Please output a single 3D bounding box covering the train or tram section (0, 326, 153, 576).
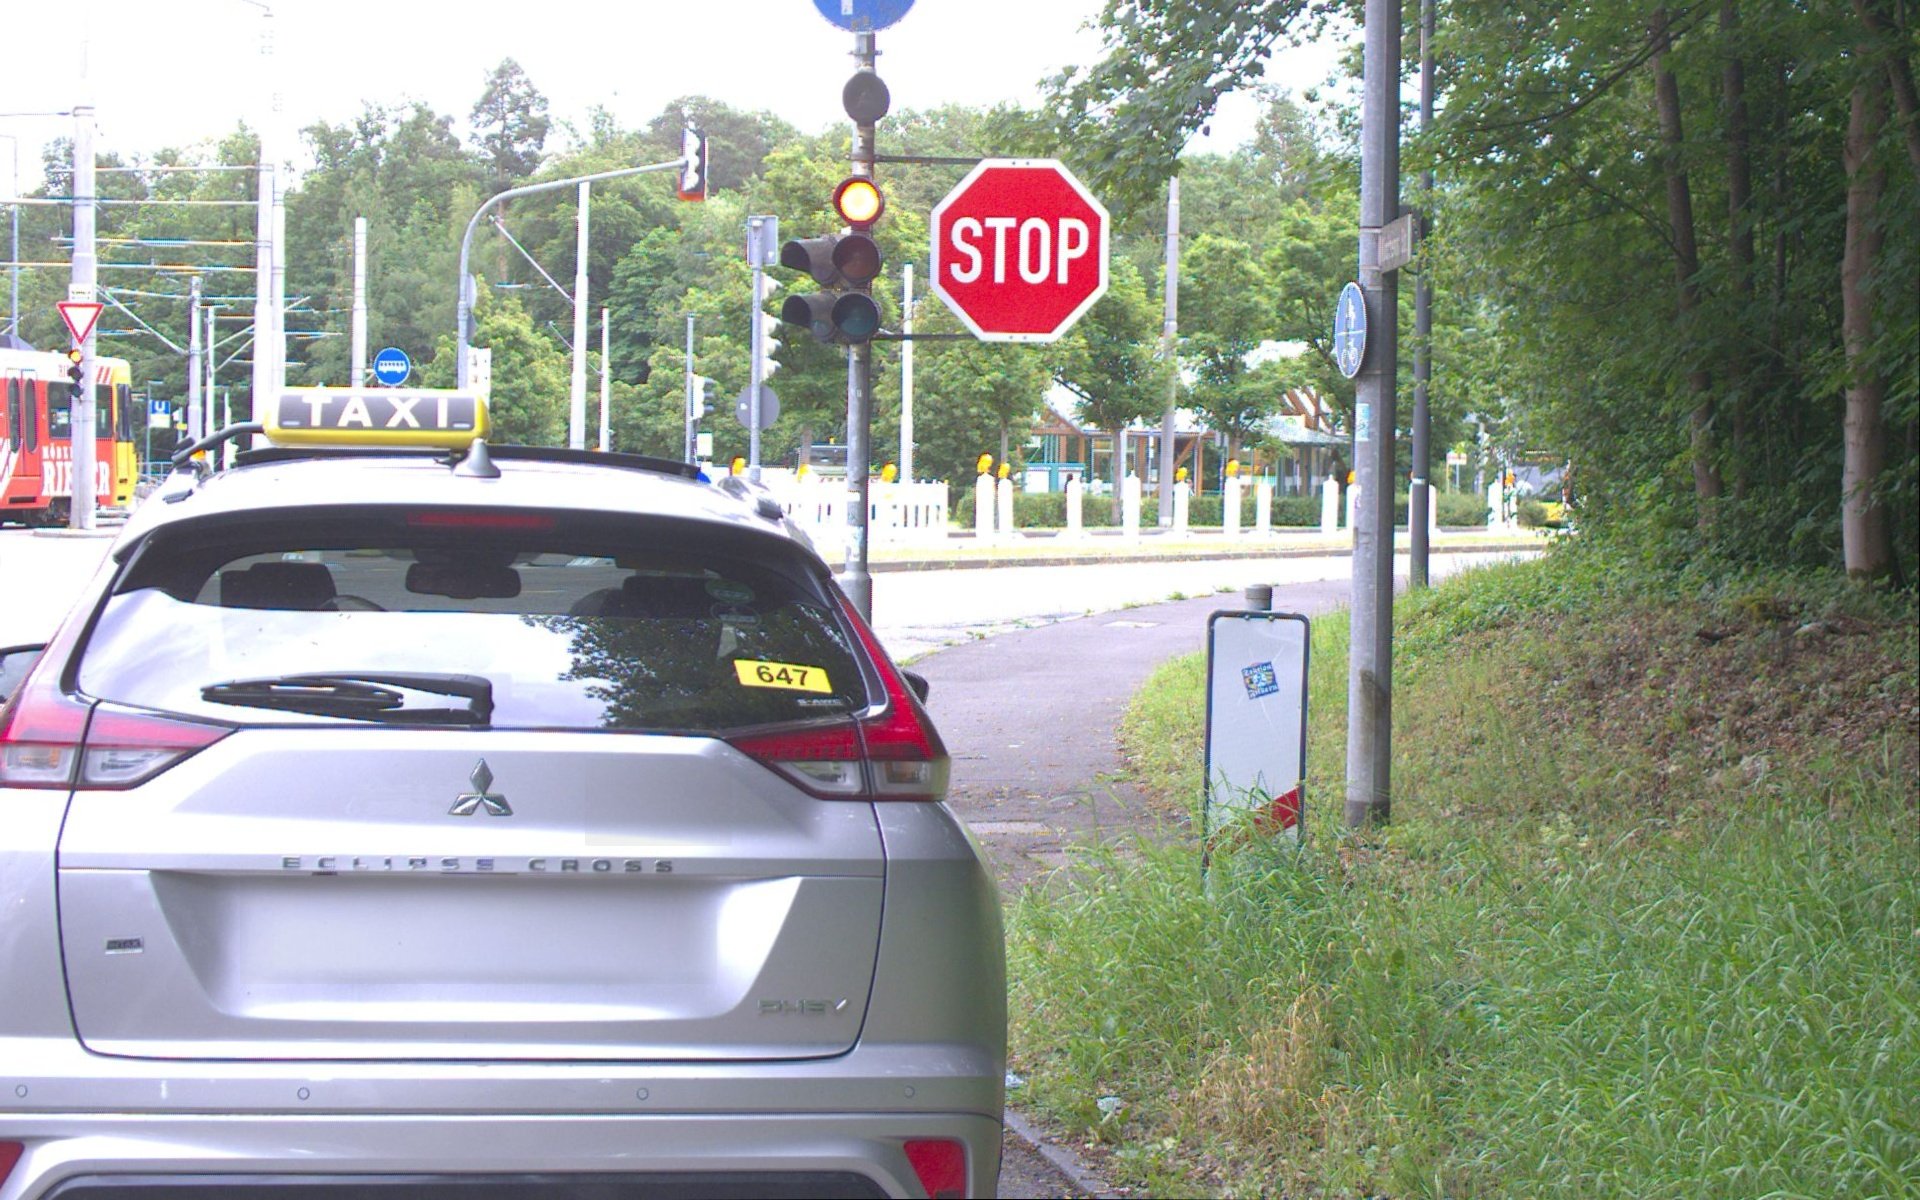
[{"bbox_3d":[-19.542,-2.770,62.114,2.948,4.634,18.539,1,1,9],"label":"train or tram section"}]

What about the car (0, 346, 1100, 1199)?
[{"bbox_3d":[-0.994,0.472,6.829,1.773,1.742,3.782,2,2,-9],"label":"car"}]
